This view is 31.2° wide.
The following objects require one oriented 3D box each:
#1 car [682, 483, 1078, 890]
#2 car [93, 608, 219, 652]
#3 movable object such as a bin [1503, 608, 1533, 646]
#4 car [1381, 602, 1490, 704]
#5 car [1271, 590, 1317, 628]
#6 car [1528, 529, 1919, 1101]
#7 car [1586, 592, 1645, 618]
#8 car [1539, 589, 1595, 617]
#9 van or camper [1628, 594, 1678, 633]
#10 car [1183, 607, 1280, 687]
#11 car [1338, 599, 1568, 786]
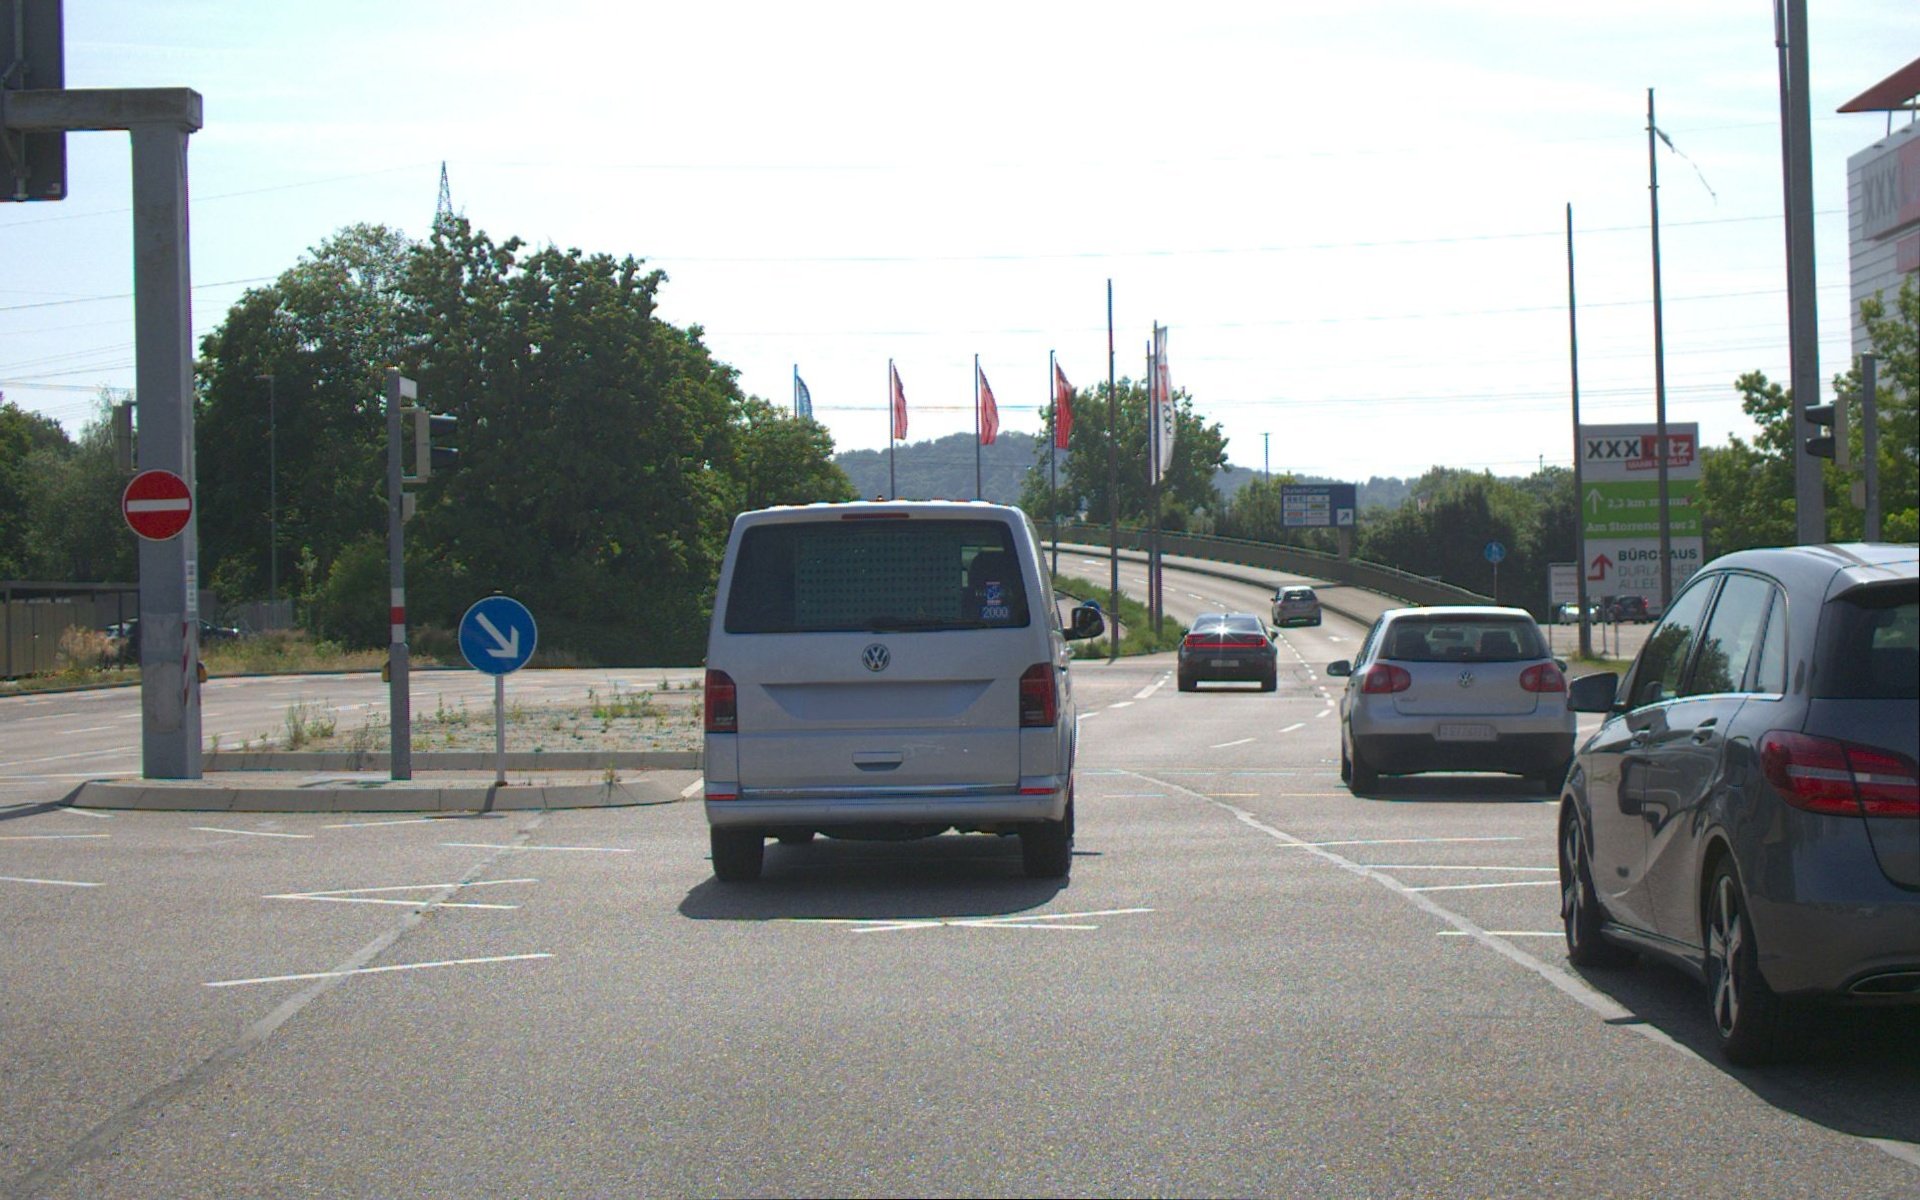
[{"bbox_3d":[-0.329,0.411,18.917,1.917,1.968,4.297,1,0,2],"label":"car"},{"bbox_3d":[-27.972,1.045,119.541,4.098,1.415,1.729,-1,-1,-19],"label":"car"},{"bbox_3d":[16.892,0.819,104.139,0.810,1.109,1.182,-1,0,5],"label":"movable object such as a bin"},{"bbox_3d":[7.228,0.785,52.504,1.531,1.475,3.595,0,0,6],"label":"car"},{"bbox_3d":[13.269,0.351,136.540,1.531,1.475,3.425,0,0,1],"label":"car"},{"bbox_3d":[3.071,0.567,11.270,1.774,1.534,4.137,0,0,1],"label":"car"},{"bbox_3d":[36.997,0.280,194.151,1.993,1.415,4.001,2,-1,-8],"label":"car"},{"bbox_3d":[34.279,0.194,194.141,1.883,1.514,4.001,2,-1,-9],"label":"car"},{"bbox_3d":[40.392,0.789,200.469,2.098,2.171,5.437,1,-1,3],"label":"van or camper"},{"bbox_3d":[5.254,0.882,66.215,1.531,1.475,3.245,0,0,10],"label":"car"},{"bbox_3d":[3.923,0.744,27.819,1.667,1.409,3.681,0,-1,6],"label":"car"}]
